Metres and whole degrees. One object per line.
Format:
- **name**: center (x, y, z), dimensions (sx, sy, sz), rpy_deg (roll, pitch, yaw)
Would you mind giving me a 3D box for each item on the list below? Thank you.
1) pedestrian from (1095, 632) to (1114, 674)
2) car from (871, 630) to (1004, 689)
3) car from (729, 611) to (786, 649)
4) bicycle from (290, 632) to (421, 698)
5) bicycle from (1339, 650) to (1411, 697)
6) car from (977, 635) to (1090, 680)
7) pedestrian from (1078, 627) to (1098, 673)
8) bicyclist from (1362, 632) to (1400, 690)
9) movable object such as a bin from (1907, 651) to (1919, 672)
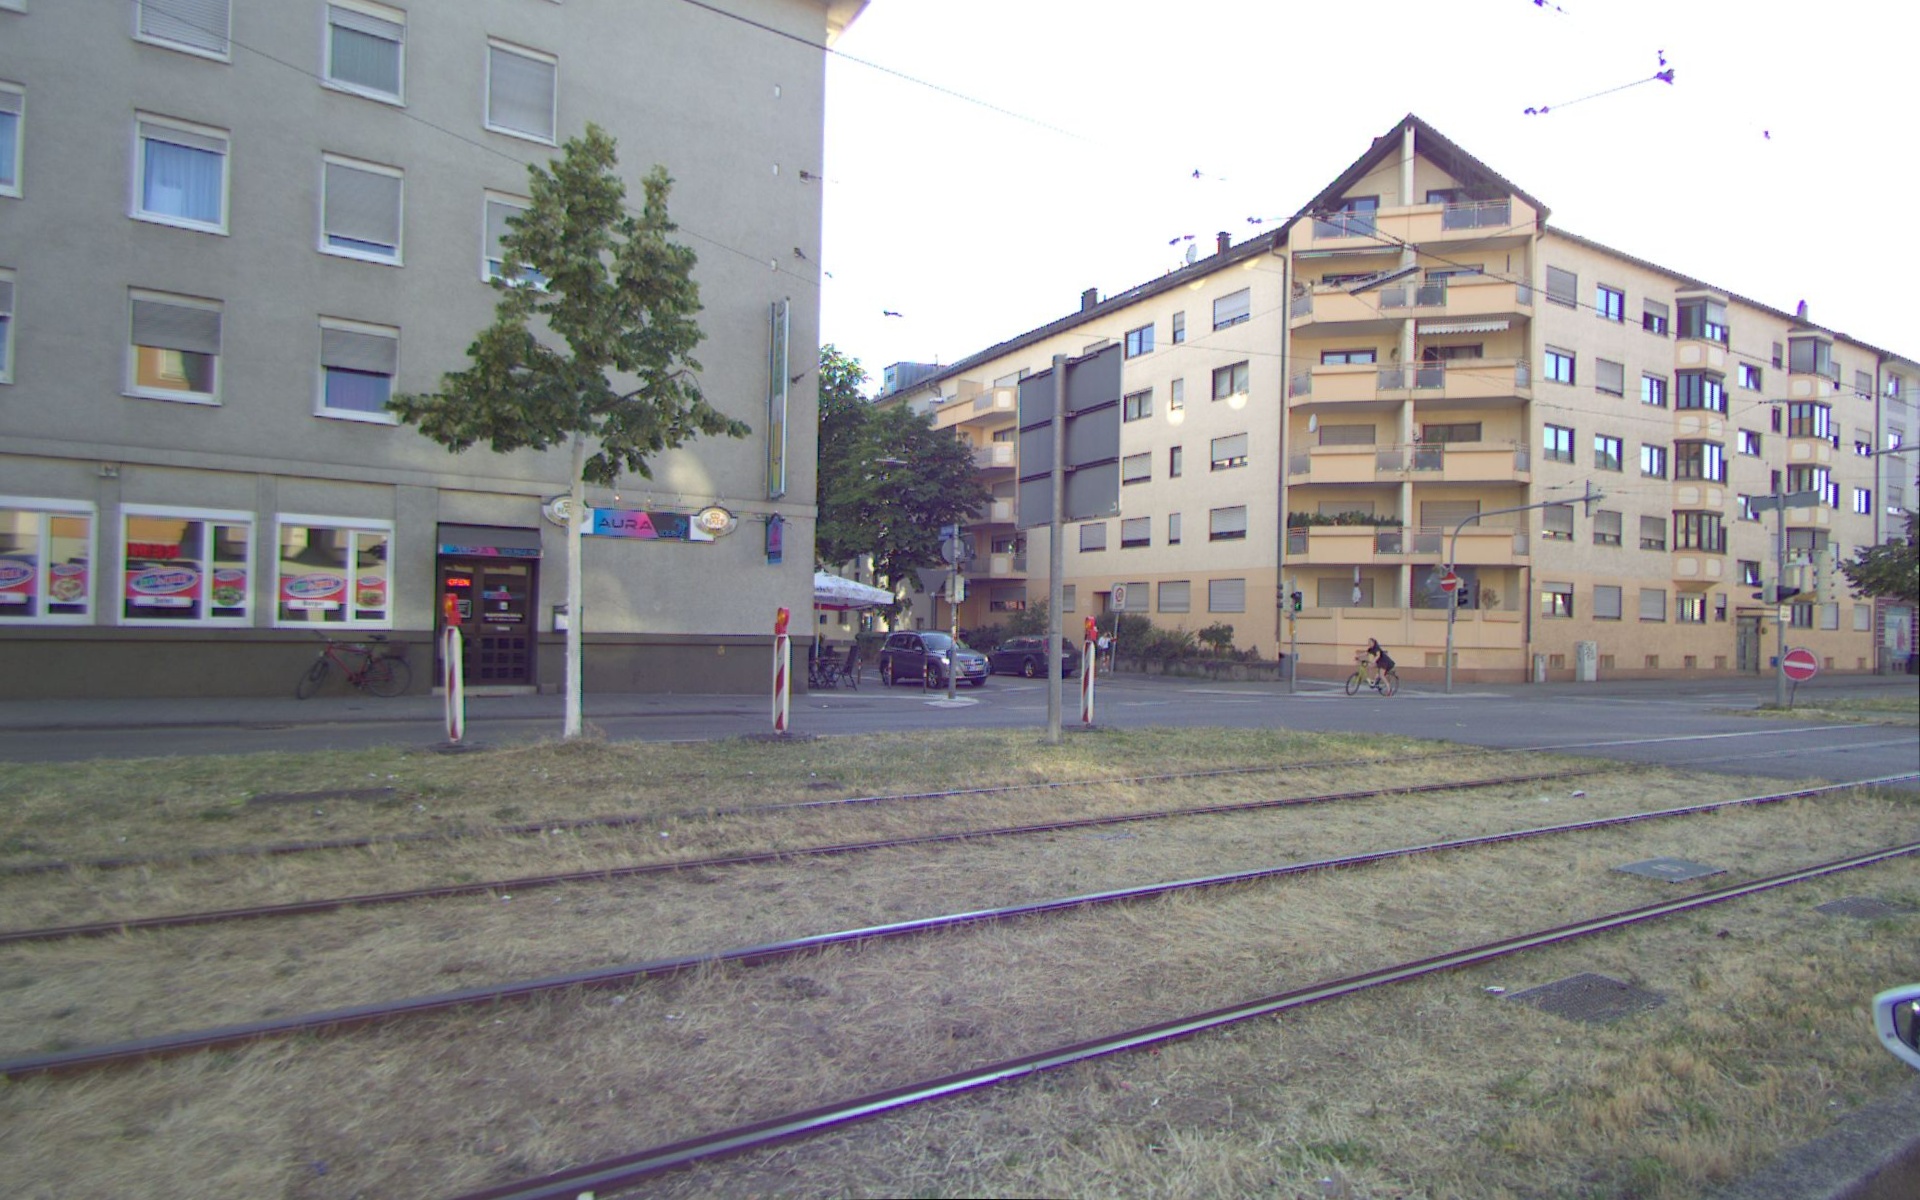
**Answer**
- **pedestrian**: center (5.538, 2.022, 38.401), dimensions (0.509, 1.573, 0.547), rpy_deg (0, 1, -24)
- **car**: center (-0.763, 1.753, 30.587), dimensions (1.982, 1.645, 4.152), rpy_deg (2, -2, -38)
- **car**: center (-11.589, 1.684, 57.322), dimensions (1.977, 2.040, 3.967), rpy_deg (3, -1, -31)
- **bicycle**: center (-10.117, 1.102, 16.885), dimensions (1.823, 1.037, 0.605), rpy_deg (3, -1, -31)
- **bicycle**: center (11.781, 2.083, 28.513), dimensions (1.833, 1.274, 0.457), rpy_deg (1, 0, 2)
- **car**: center (2.643, 2.061, 36.707), dimensions (1.982, 1.462, 3.957), rpy_deg (0, -1, -38)
- **pedestrian**: center (4.879, 1.911, 38.282), dimensions (0.456, 1.727, 0.589), rpy_deg (3, 0, -24)
- **bicyclist**: center (11.947, 1.720, 28.514), dimensions (0.793, 1.607, 0.628), rpy_deg (1, 0, 4)
- **movable object such as a bin**: center (48.433, 3.131, 51.059), dimensions (0.436, 1.050, 0.297), rpy_deg (3, 0, -31)
